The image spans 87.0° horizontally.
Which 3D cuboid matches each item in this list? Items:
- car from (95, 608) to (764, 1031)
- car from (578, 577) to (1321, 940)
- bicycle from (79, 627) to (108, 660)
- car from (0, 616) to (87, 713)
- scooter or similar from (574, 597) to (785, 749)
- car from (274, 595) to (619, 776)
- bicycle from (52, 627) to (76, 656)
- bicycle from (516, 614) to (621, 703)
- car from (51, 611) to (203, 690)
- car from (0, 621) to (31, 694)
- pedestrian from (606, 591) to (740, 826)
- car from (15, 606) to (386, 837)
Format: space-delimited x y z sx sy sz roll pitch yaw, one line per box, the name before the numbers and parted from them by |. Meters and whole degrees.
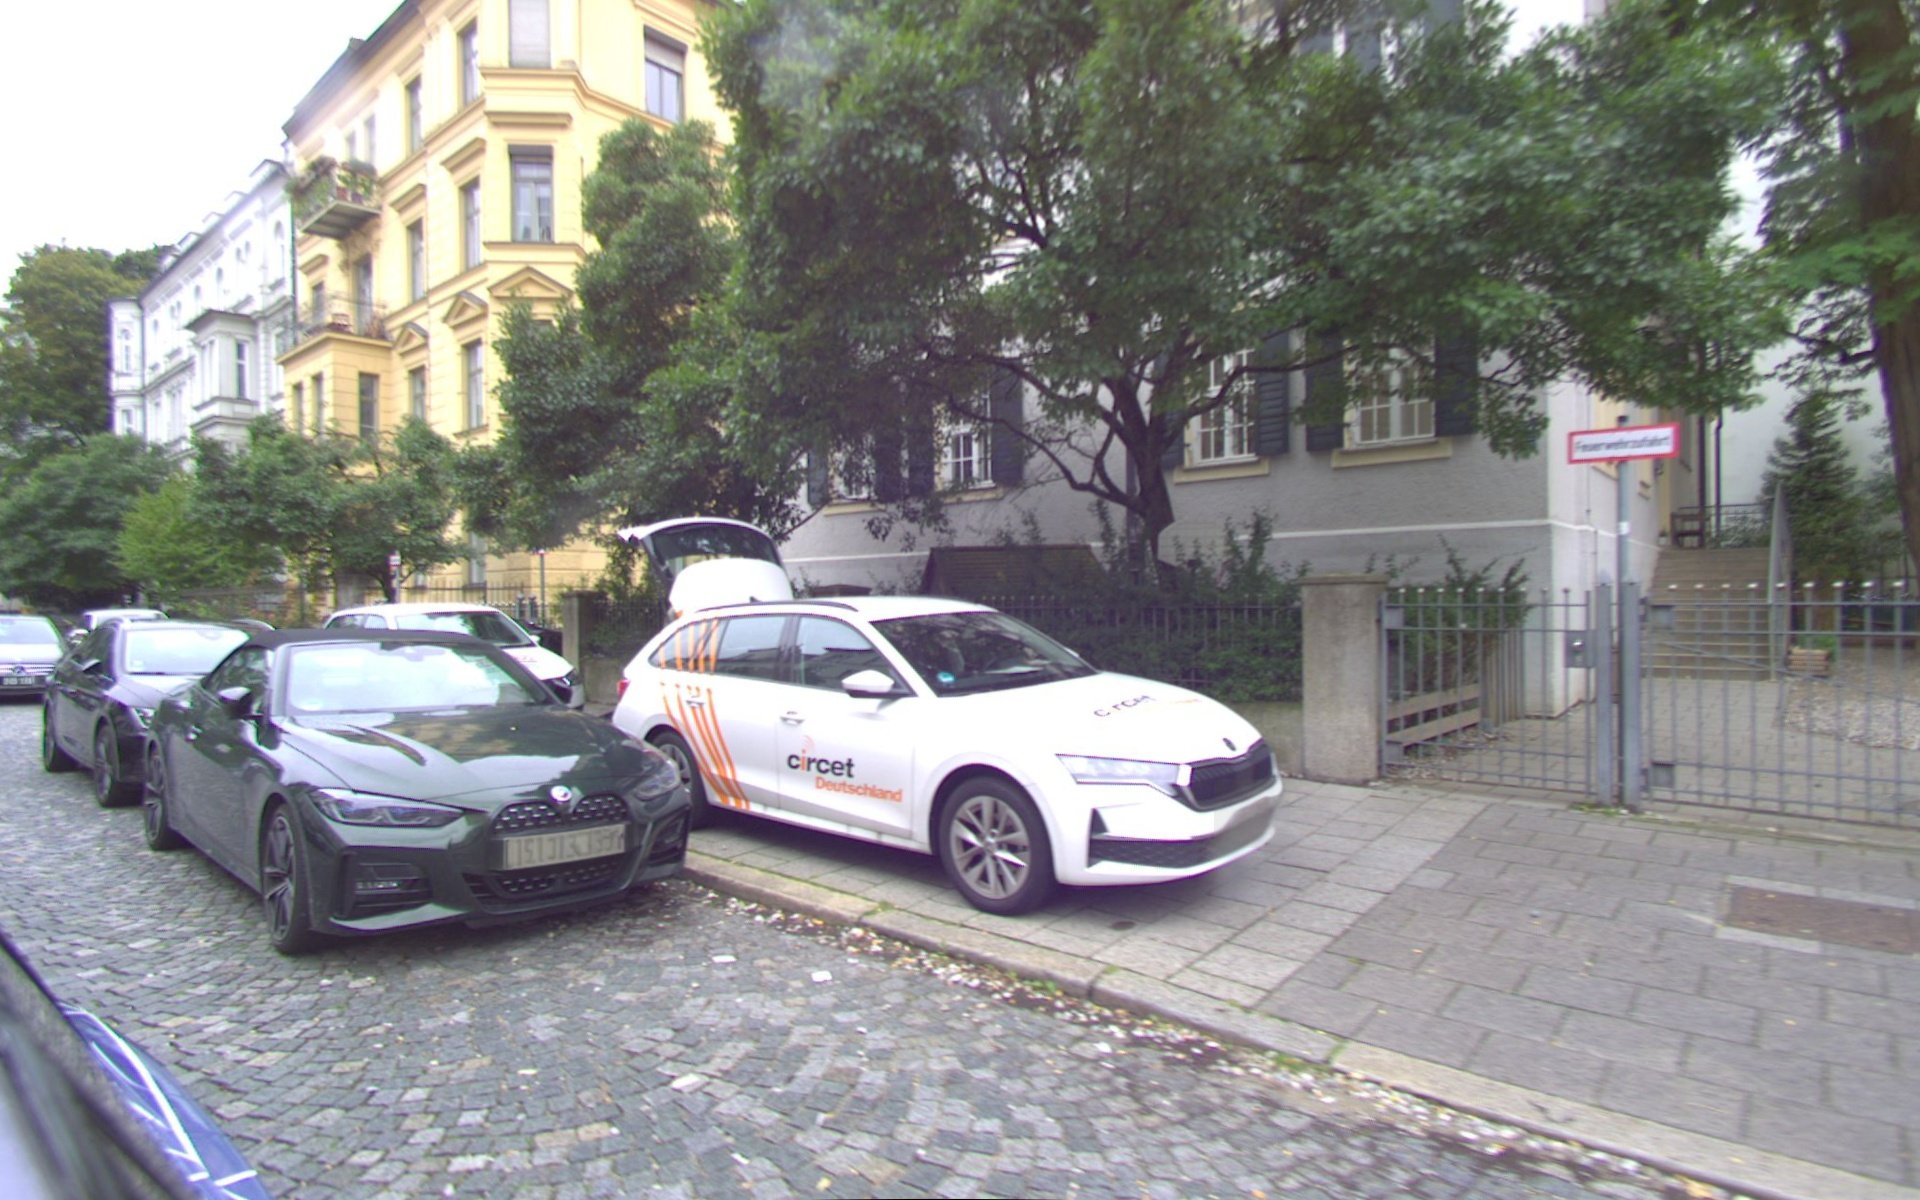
car | -3.379 0.835 5.858 4.911 1.466 1.795 -1 -3 42
car | -0.379 0.661 6.229 4.560 1.427 1.757 -1 1 42
bicycle | -31.104 1.546 36.321 1.789 1.132 0.504 -1 3 41
car | -17.304 1.100 18.125 4.186 1.598 1.723 -1 -2 38
scooter or similar | -3.253 0.767 11.557 2.633 1.535 1.051 -2 -1 41
car | -5.711 0.783 10.999 4.463 1.548 1.722 -1 1 40
bicycle | -35.894 1.649 40.520 1.694 1.059 0.458 -1 3 41
bicycle | -6.021 0.866 15.505 2.059 1.268 0.599 -1 0 41
car | -18.036 1.029 21.843 4.387 1.477 1.823 -1 0 41
car | -21.747 1.202 21.798 5.128 1.481 1.851 -1 -2 39
pedestrian | -2.167 0.771 7.658 0.582 1.662 0.758 -1 0 42
car | -7.066 0.898 9.225 4.534 1.615 1.722 -1 -2 40
